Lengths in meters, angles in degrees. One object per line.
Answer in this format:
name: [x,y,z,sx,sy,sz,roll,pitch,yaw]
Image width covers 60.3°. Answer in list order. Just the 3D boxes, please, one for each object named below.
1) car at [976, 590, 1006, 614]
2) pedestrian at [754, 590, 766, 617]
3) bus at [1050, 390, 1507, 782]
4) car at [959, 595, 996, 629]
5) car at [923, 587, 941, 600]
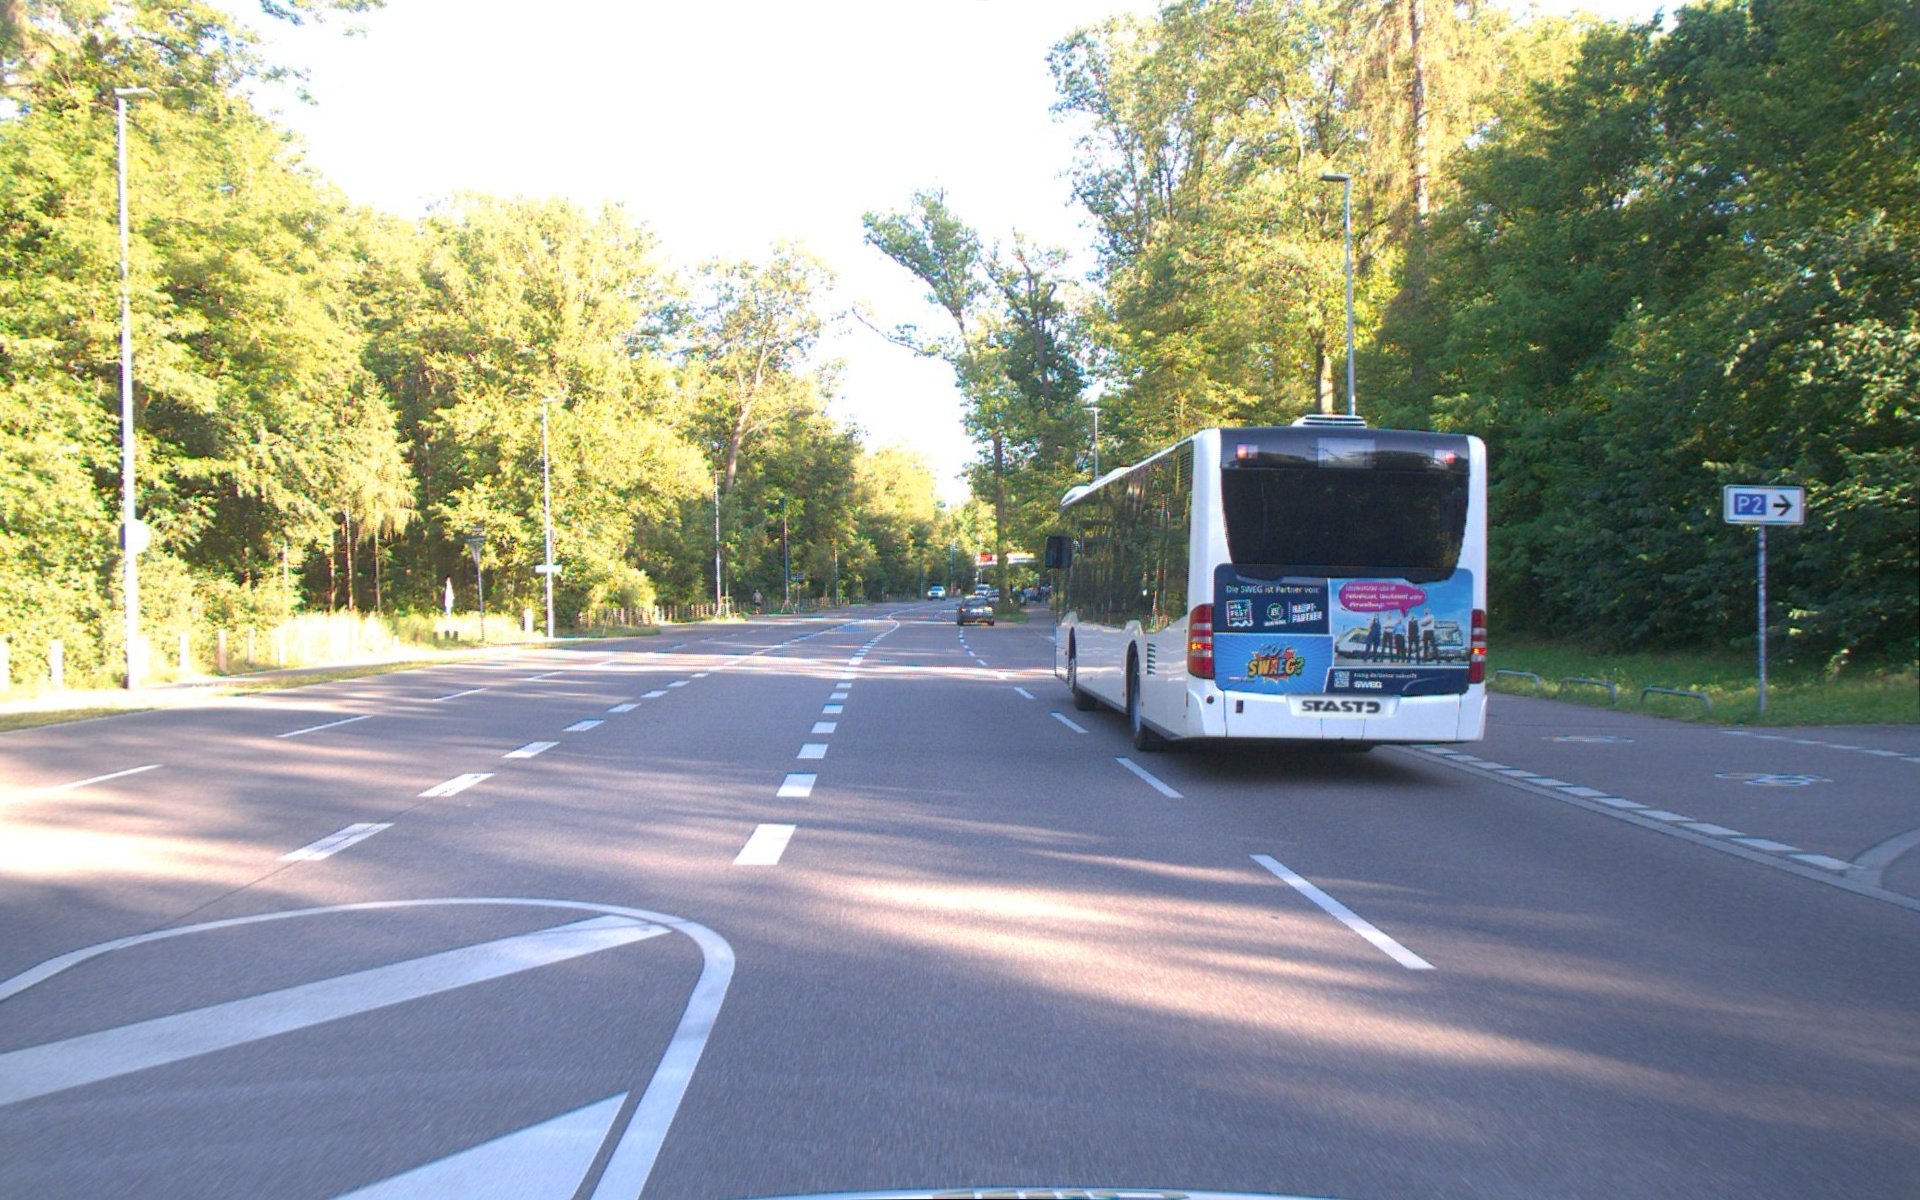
car: [2.233,0.162,117.594,1.597,1.688,4.135,0,0,8]
pedestrian: [-13.755,0.219,113.793,0.763,1.844,0.770,0,0,-2]
bus: [2.870,-0.082,19.164,2.635,3.096,12.036,0,0,-2]
car: [0.869,0.587,79.918,1.598,1.574,4.133,0,0,3]
car: [-3.316,-0.758,194.764,1.824,1.564,4.133,0,0,2]
